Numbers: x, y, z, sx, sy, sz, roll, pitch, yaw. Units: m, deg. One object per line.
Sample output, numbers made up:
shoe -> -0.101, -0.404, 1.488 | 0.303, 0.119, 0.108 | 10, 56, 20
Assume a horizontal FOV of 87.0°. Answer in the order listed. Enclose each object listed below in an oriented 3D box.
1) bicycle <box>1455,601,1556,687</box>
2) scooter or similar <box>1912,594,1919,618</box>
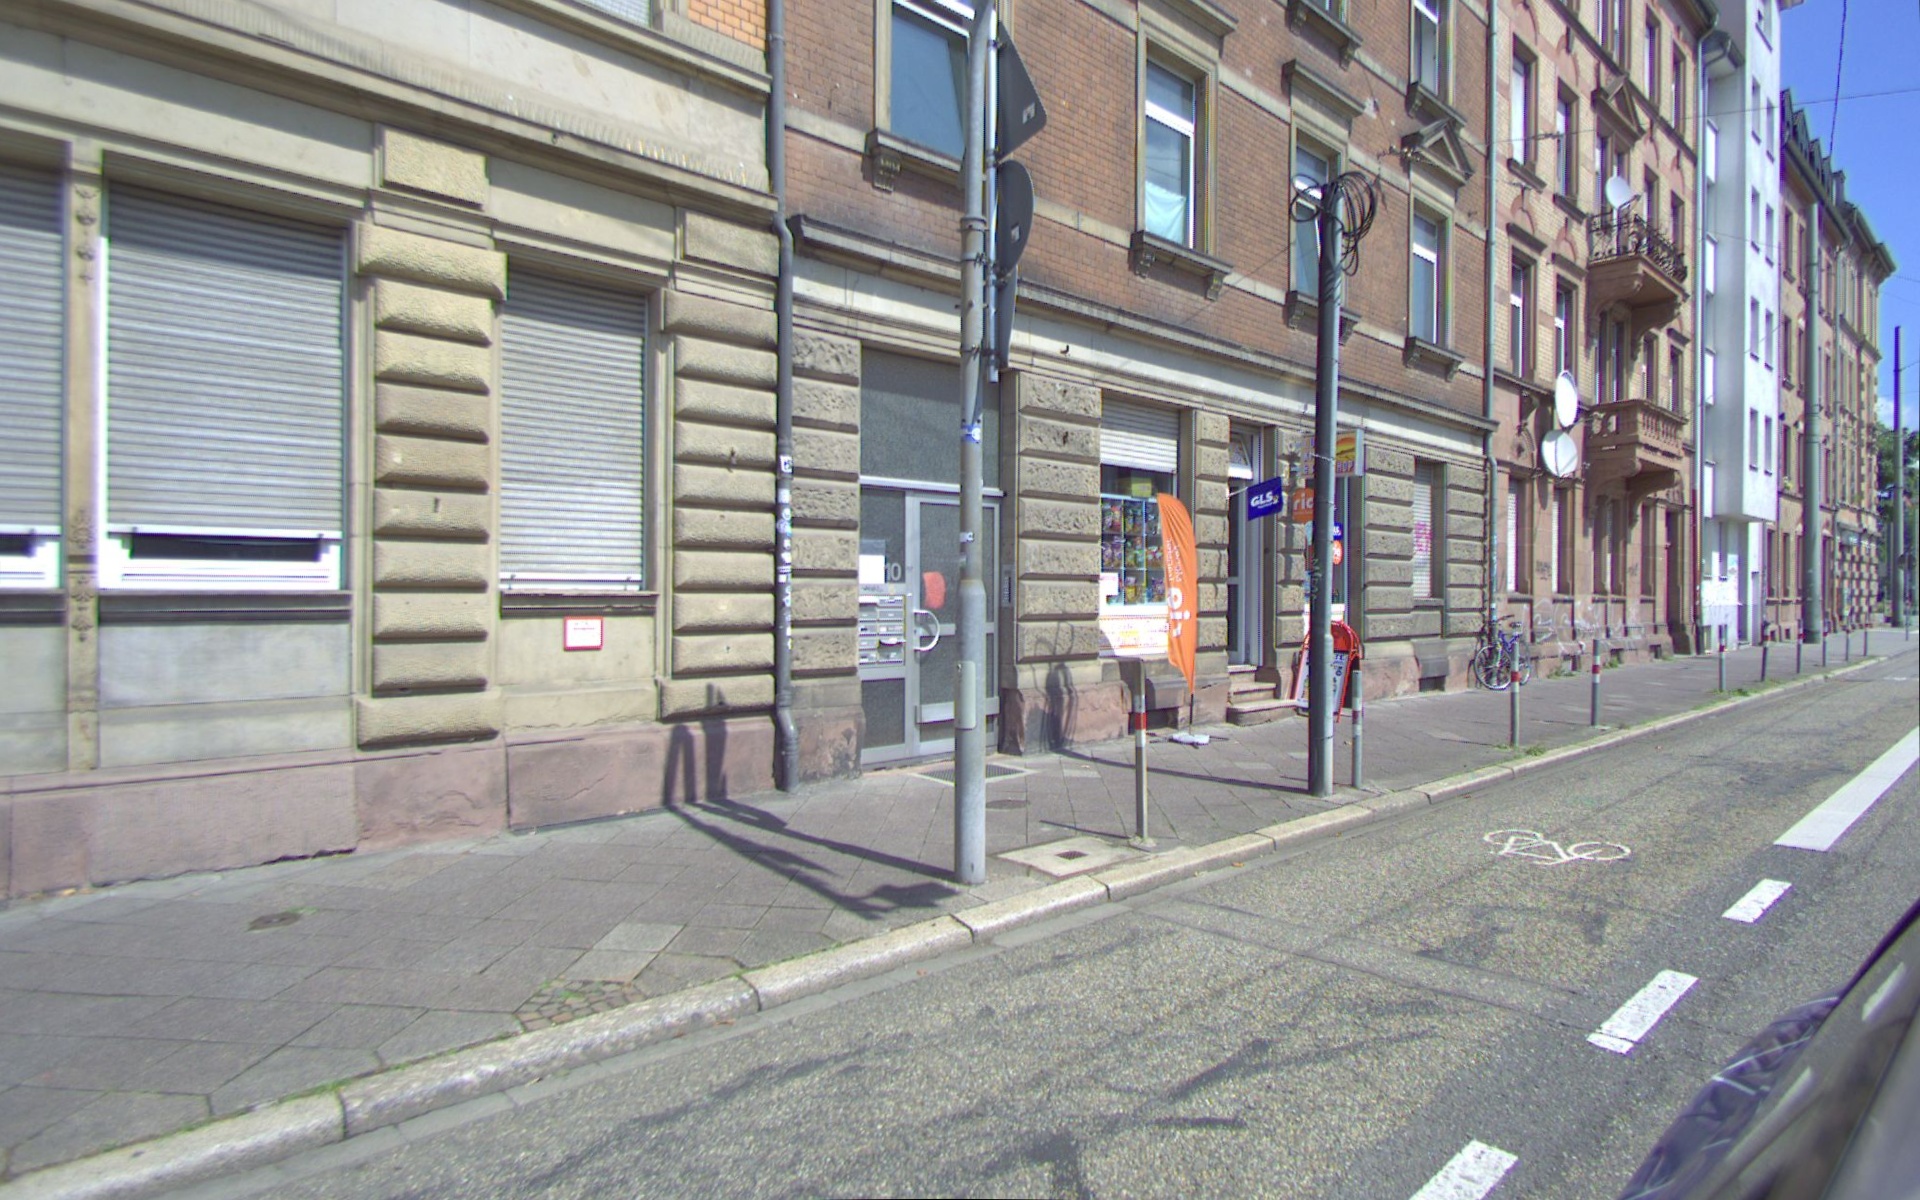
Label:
bicycle -> 8.244, 0.619, 15.251 | 2.166, 1.193, 0.587 | 0, 1, -40
scooter or similar -> 48.277, 0.321, 50.446 | 1.065, 1.194, 0.951 | 0, 1, -35
